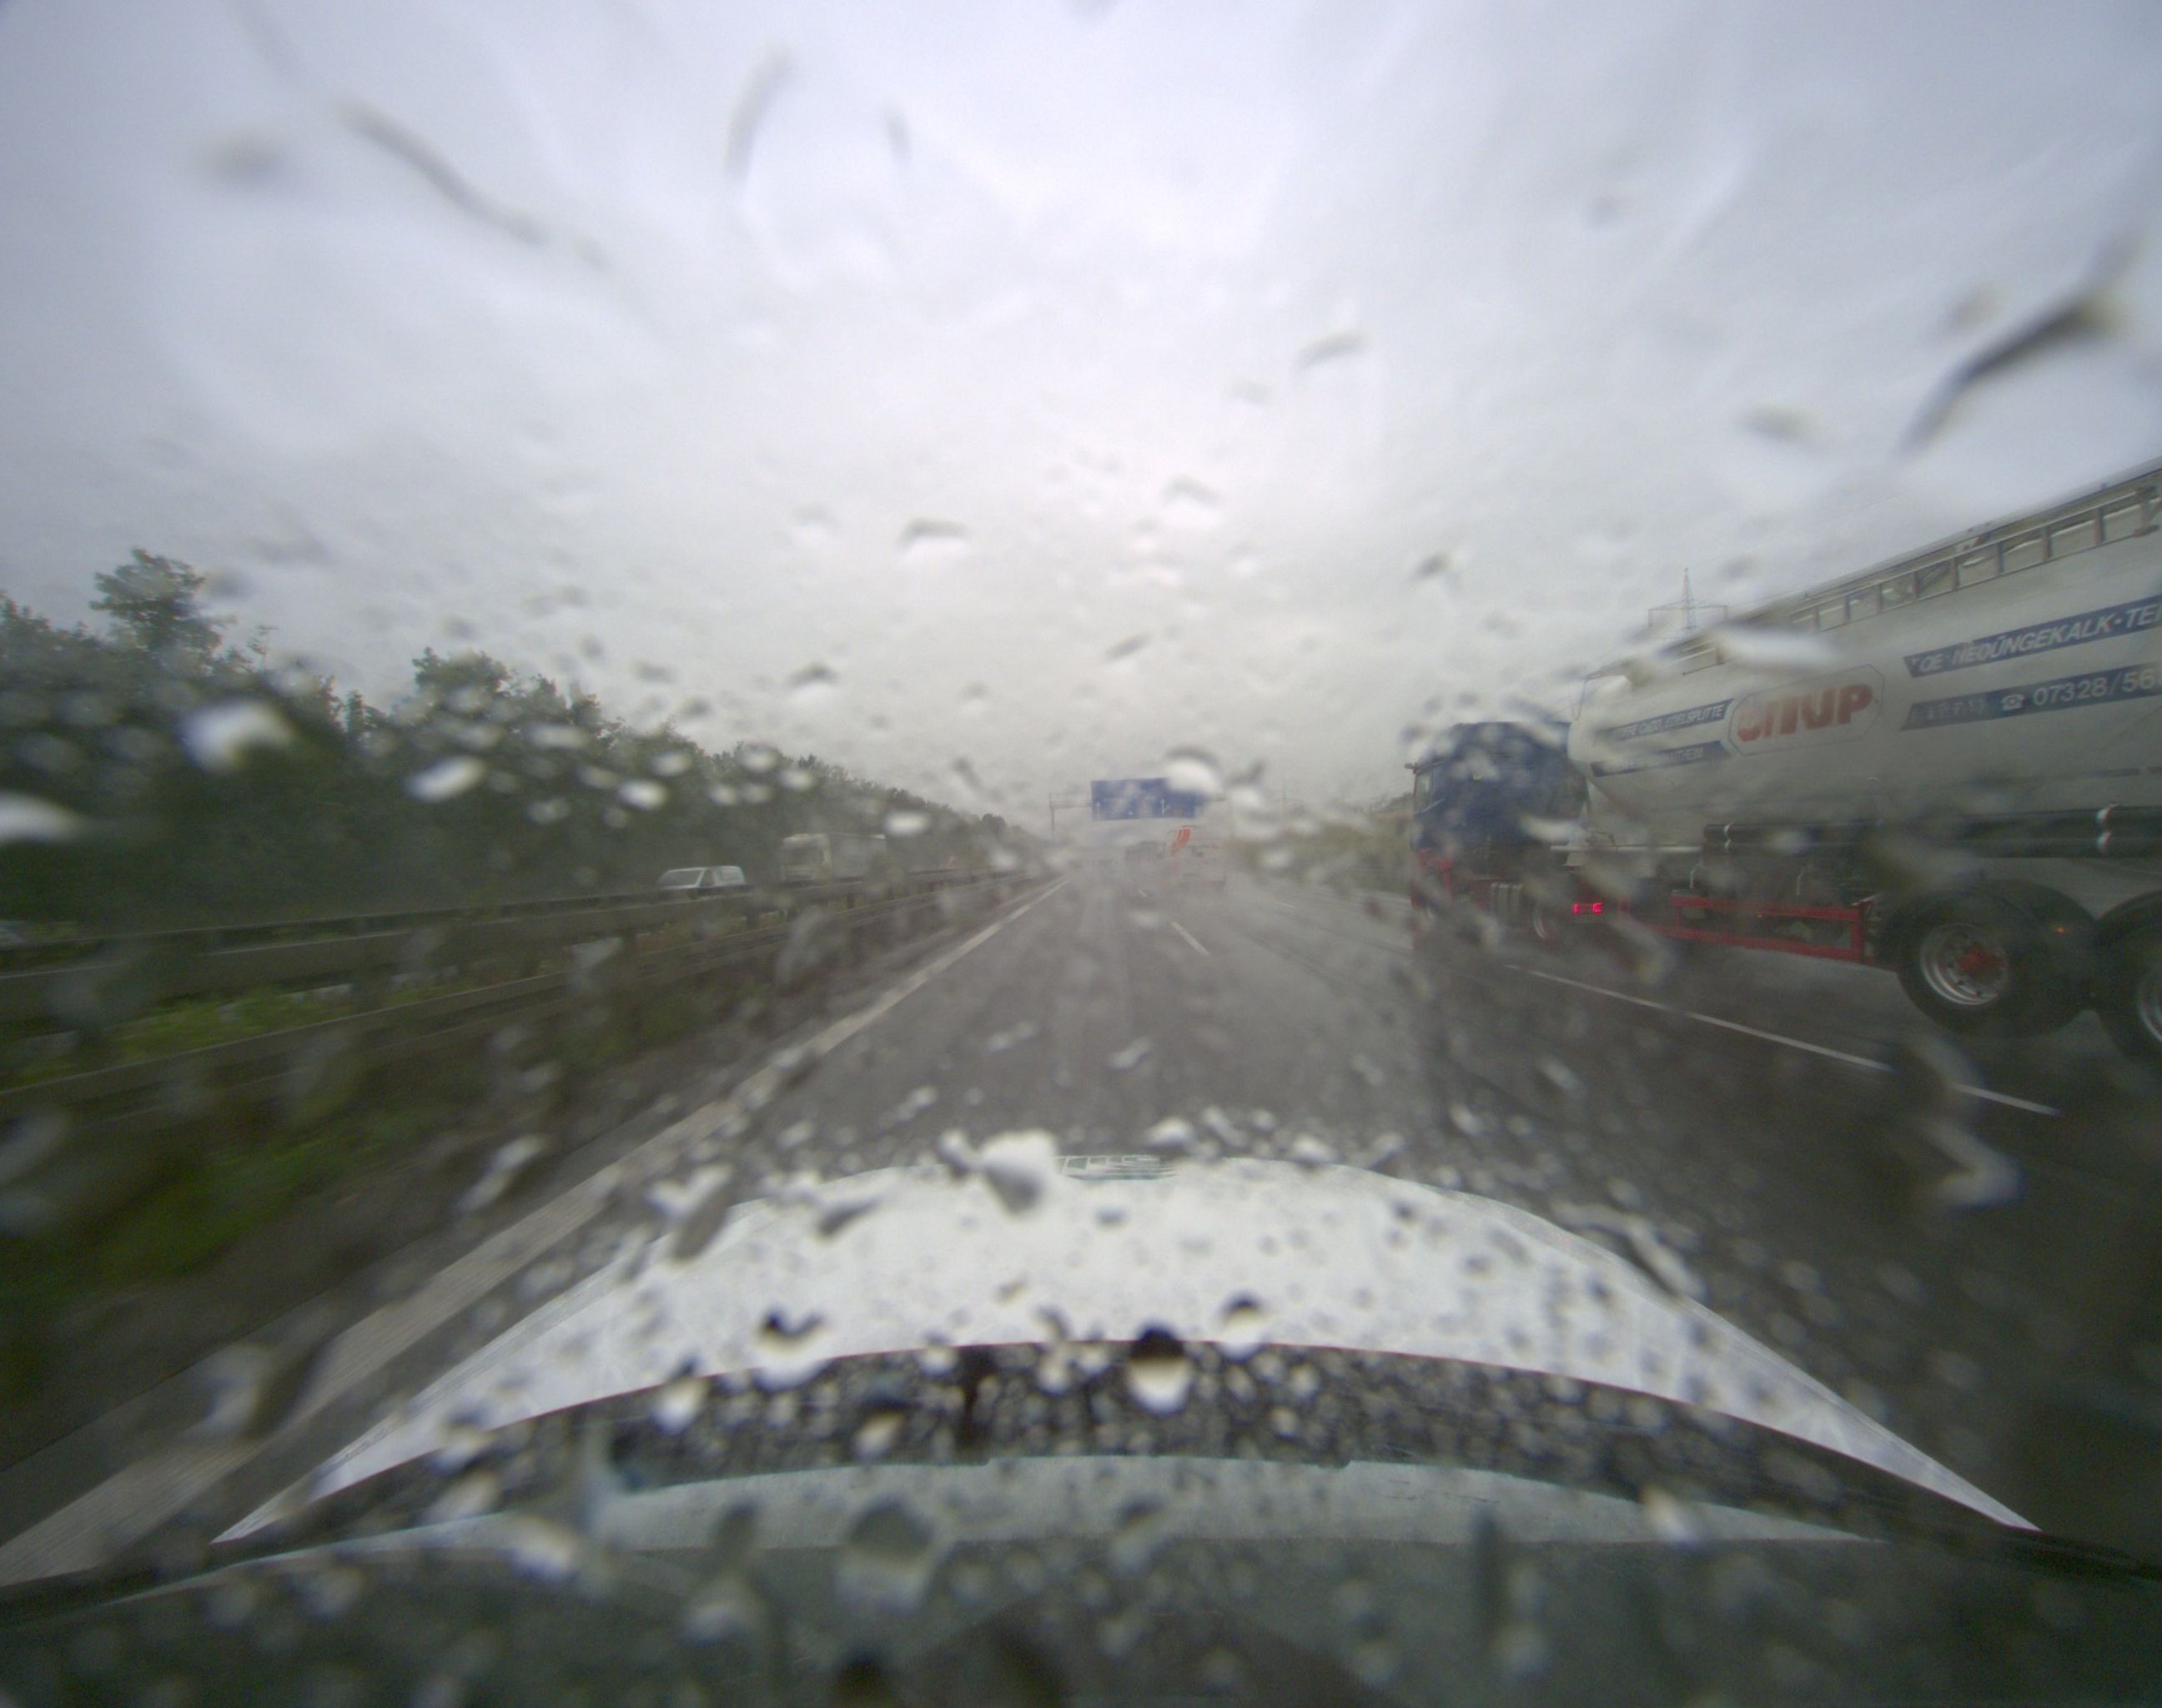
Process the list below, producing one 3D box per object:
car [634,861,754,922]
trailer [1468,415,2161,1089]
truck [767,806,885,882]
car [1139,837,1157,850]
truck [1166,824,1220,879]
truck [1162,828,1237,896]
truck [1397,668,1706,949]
[{"bbox_3d":[-14.611,1.335,31.169,1.922,2.013,5.403,-1,1,1],"label":"car"},{"bbox_3d":[7.544,-0.627,7.940,2.488,3.882,11.069,-1,1,1],"label":"trailer"},{"bbox_3d":[-17.911,-0.713,59.215,2.955,4.674,17.102,-1,1,1],"label":"truck"},{"bbox_3d":[11.189,-1.758,135.804,2.778,2.013,4.995,-1,1,1],"label":"car"},{"bbox_3d":[10.179,-0.143,76.248,3.029,4.588,16.352,-1,0,1],"label":"truck"},{"bbox_3d":[4.606,0.266,32.538,2.410,2.492,5.563,-1,1,2],"label":"truck"},{"bbox_3d":[7.695,-0.671,14.147,2.488,3.983,5.077,-1,0,1],"label":"truck"}]
